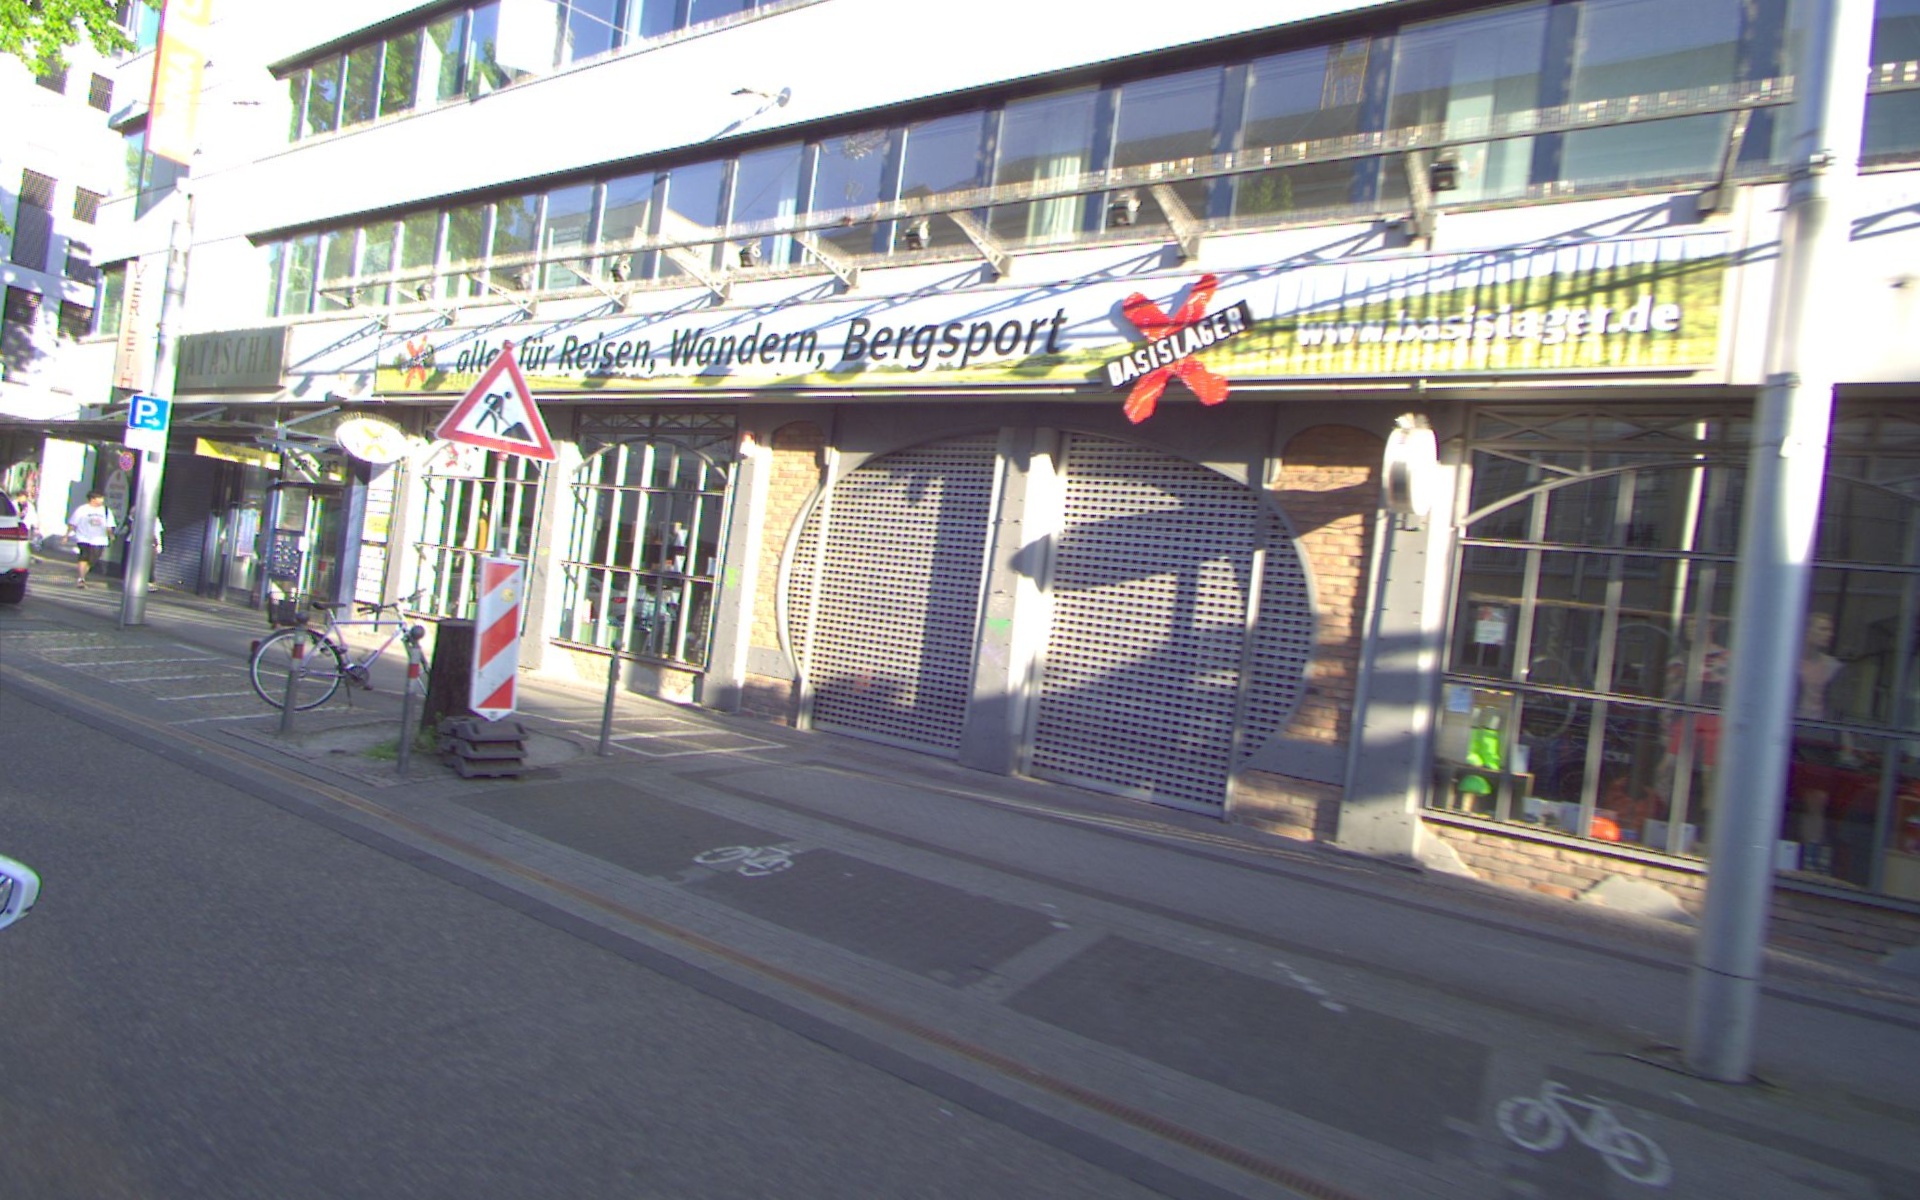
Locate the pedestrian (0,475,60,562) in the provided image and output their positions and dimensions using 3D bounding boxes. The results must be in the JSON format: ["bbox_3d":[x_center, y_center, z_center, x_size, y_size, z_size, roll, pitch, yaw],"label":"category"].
[{"bbox_3d":[-22.292,-1.935,24.048,0.903,1.921,0.834,7,1,34],"label":"pedestrian"}]

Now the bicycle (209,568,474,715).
[{"bbox_3d":[-5.526,0.391,9.076,0.828,1.149,1.810,6,0,39],"label":"bicycle"}]

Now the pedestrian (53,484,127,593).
[{"bbox_3d":[-15.822,-1.108,18.296,0.624,1.852,0.706,7,0,31],"label":"pedestrian"}]

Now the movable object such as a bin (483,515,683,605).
[{"bbox_3d":[-17.596,-1.816,47.398,8.150,2.944,2.794,9,-1,-40],"label":"movable object such as a bin"}]

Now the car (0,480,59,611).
[{"bbox_3d":[-15.312,-1.002,14.517,4.824,1.760,2.024,7,2,30],"label":"car"}]

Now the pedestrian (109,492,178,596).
[{"bbox_3d":[-15.457,-1.057,19.051,0.624,1.852,0.689,7,0,31],"label":"pedestrian"}]
